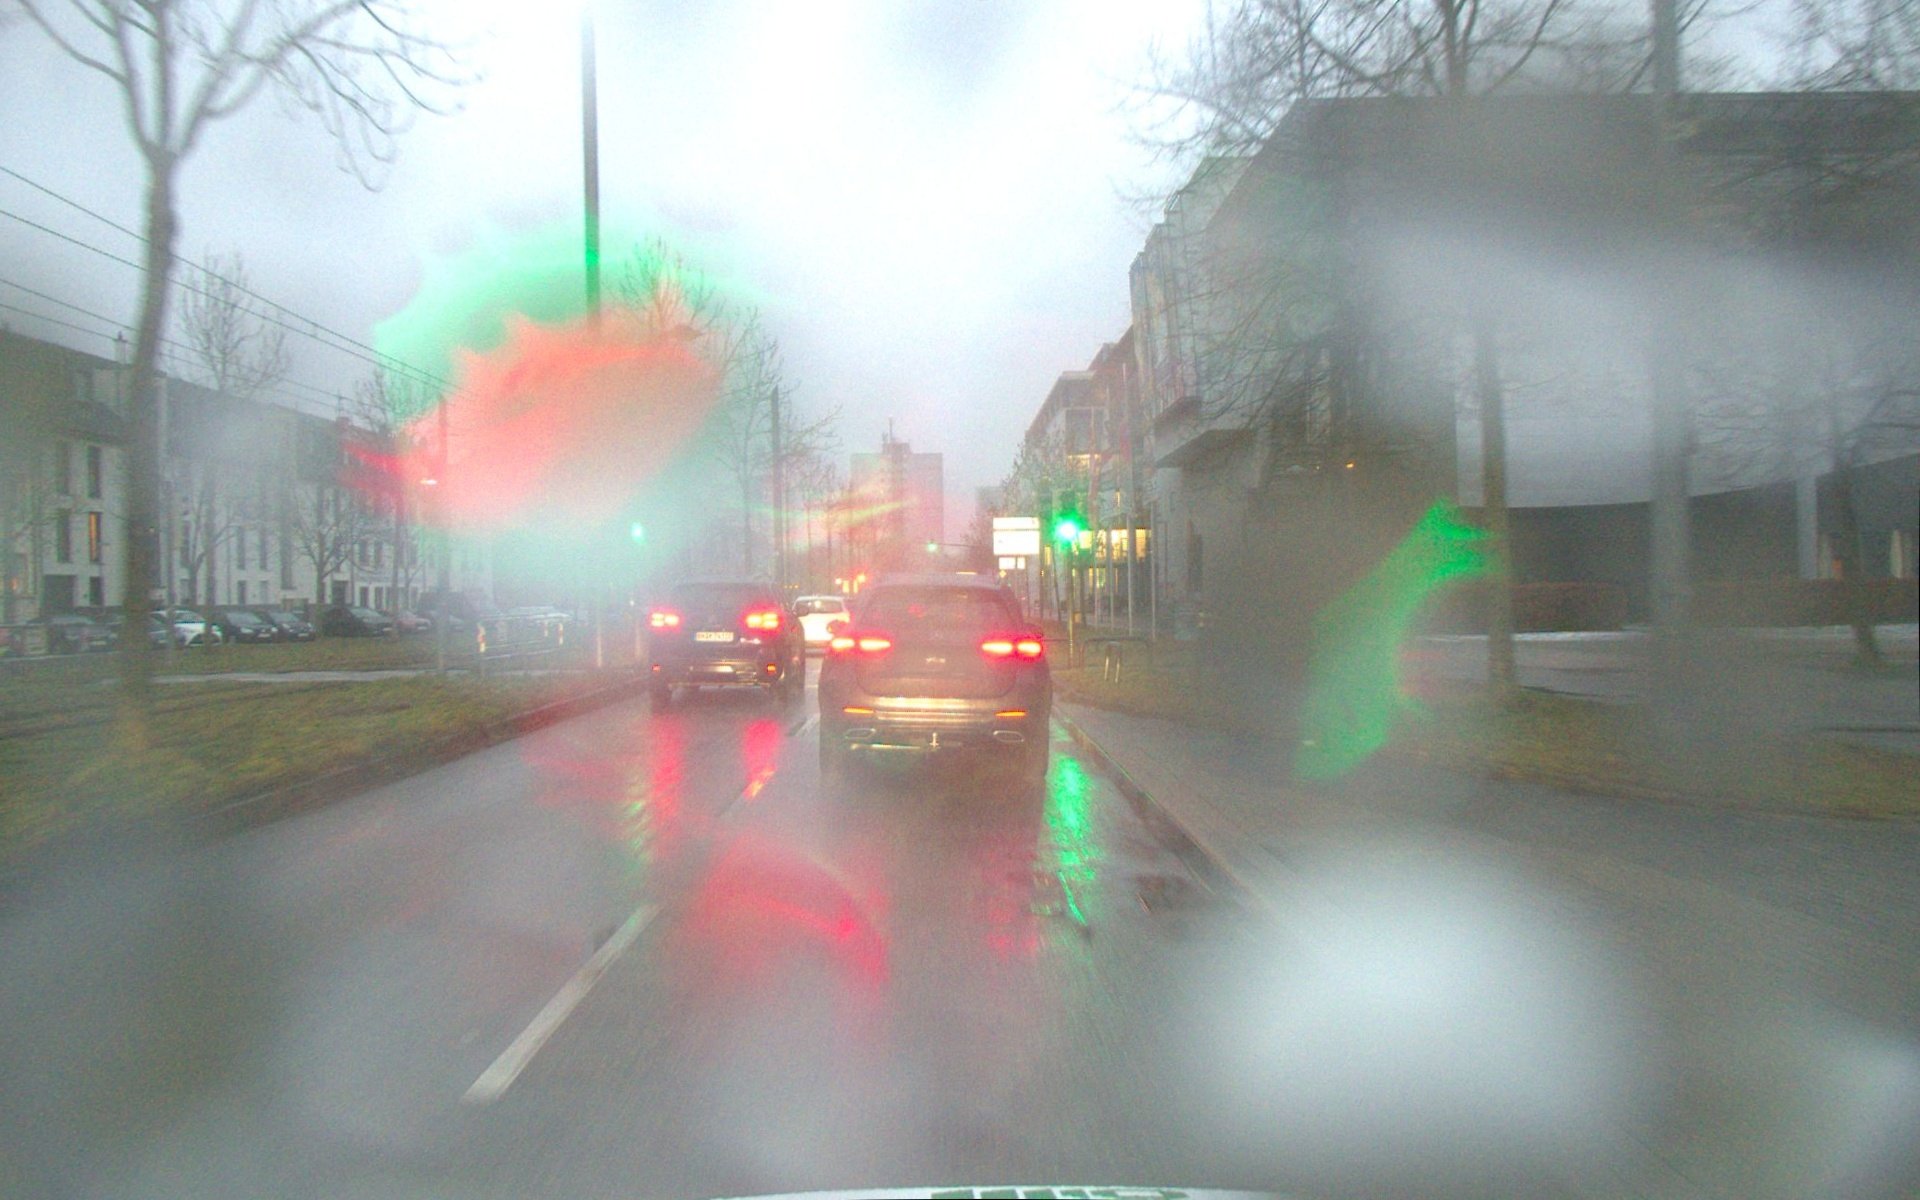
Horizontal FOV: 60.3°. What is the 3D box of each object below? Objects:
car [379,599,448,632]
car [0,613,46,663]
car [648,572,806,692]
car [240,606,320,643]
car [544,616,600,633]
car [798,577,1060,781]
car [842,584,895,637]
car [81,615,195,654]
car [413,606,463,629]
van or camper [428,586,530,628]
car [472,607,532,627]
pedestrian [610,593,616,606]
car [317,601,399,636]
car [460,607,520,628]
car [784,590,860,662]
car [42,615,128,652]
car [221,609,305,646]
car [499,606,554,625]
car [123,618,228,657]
[{"bbox_3d":[-28.350,0.807,85.760,3.778,1.616,1.733,1,0,40],"label":"car"},{"bbox_3d":[-27.633,1.034,46.672,3.504,1.332,1.682,1,0,31],"label":"car"},{"bbox_3d":[-3.115,0.403,22.789,1.781,1.476,3.998,1,0,-3],"label":"car"},{"bbox_3d":[-28.467,1.012,69.214,3.320,1.446,1.663,1,0,38],"label":"car"},{"bbox_3d":[-29.171,1.844,124.271,4.098,1.135,1.678,1,0,30],"label":"car"},{"bbox_3d":[-0.273,0.605,14.320,1.953,1.509,3.699,1,0,-1],"label":"car"},{"bbox_3d":[-3.188,0.364,58.161,1.628,1.790,3.567,1,-1,0],"label":"car"},{"bbox_3d":[-27.804,1.154,55.951,3.740,1.192,1.733,1,0,31],"label":"car"},{"bbox_3d":[-29.032,0.969,92.016,2.835,1.225,1.381,1,0,40],"label":"car"},{"bbox_3d":[-29.131,0.411,100.081,6.736,2.401,1.995,1,0,33],"label":"van or camper"},{"bbox_3d":[-29.807,1.114,107.650,3.463,1.221,1.878,1,0,30],"label":"car"},{"bbox_3d":[-32.050,-0.056,152.885,0.343,1.205,0.427,1,-1,-42],"label":"pedestrian"},{"bbox_3d":[-28.720,0.883,78.892,4.078,1.568,1.664,1,0,35],"label":"car"},{"bbox_3d":[-29.705,1.112,104.567,3.463,1.233,1.744,1,0,30],"label":"car"},{"bbox_3d":[-3.376,0.612,40.912,1.655,1.664,3.473,1,0,-1],"label":"car"},{"bbox_3d":[-27.998,1.056,52.909,2.341,1.067,1.434,1,1,31],"label":"car"},{"bbox_3d":[-27.957,1.087,66.312,2.874,1.359,1.733,1,0,31],"label":"car"},{"bbox_3d":[-29.109,1.021,111.038,3.344,1.167,1.688,1,0,30],"label":"car"},{"bbox_3d":[-27.941,1.318,58.908,3.765,1.267,1.732,1,0,35],"label":"car"}]
